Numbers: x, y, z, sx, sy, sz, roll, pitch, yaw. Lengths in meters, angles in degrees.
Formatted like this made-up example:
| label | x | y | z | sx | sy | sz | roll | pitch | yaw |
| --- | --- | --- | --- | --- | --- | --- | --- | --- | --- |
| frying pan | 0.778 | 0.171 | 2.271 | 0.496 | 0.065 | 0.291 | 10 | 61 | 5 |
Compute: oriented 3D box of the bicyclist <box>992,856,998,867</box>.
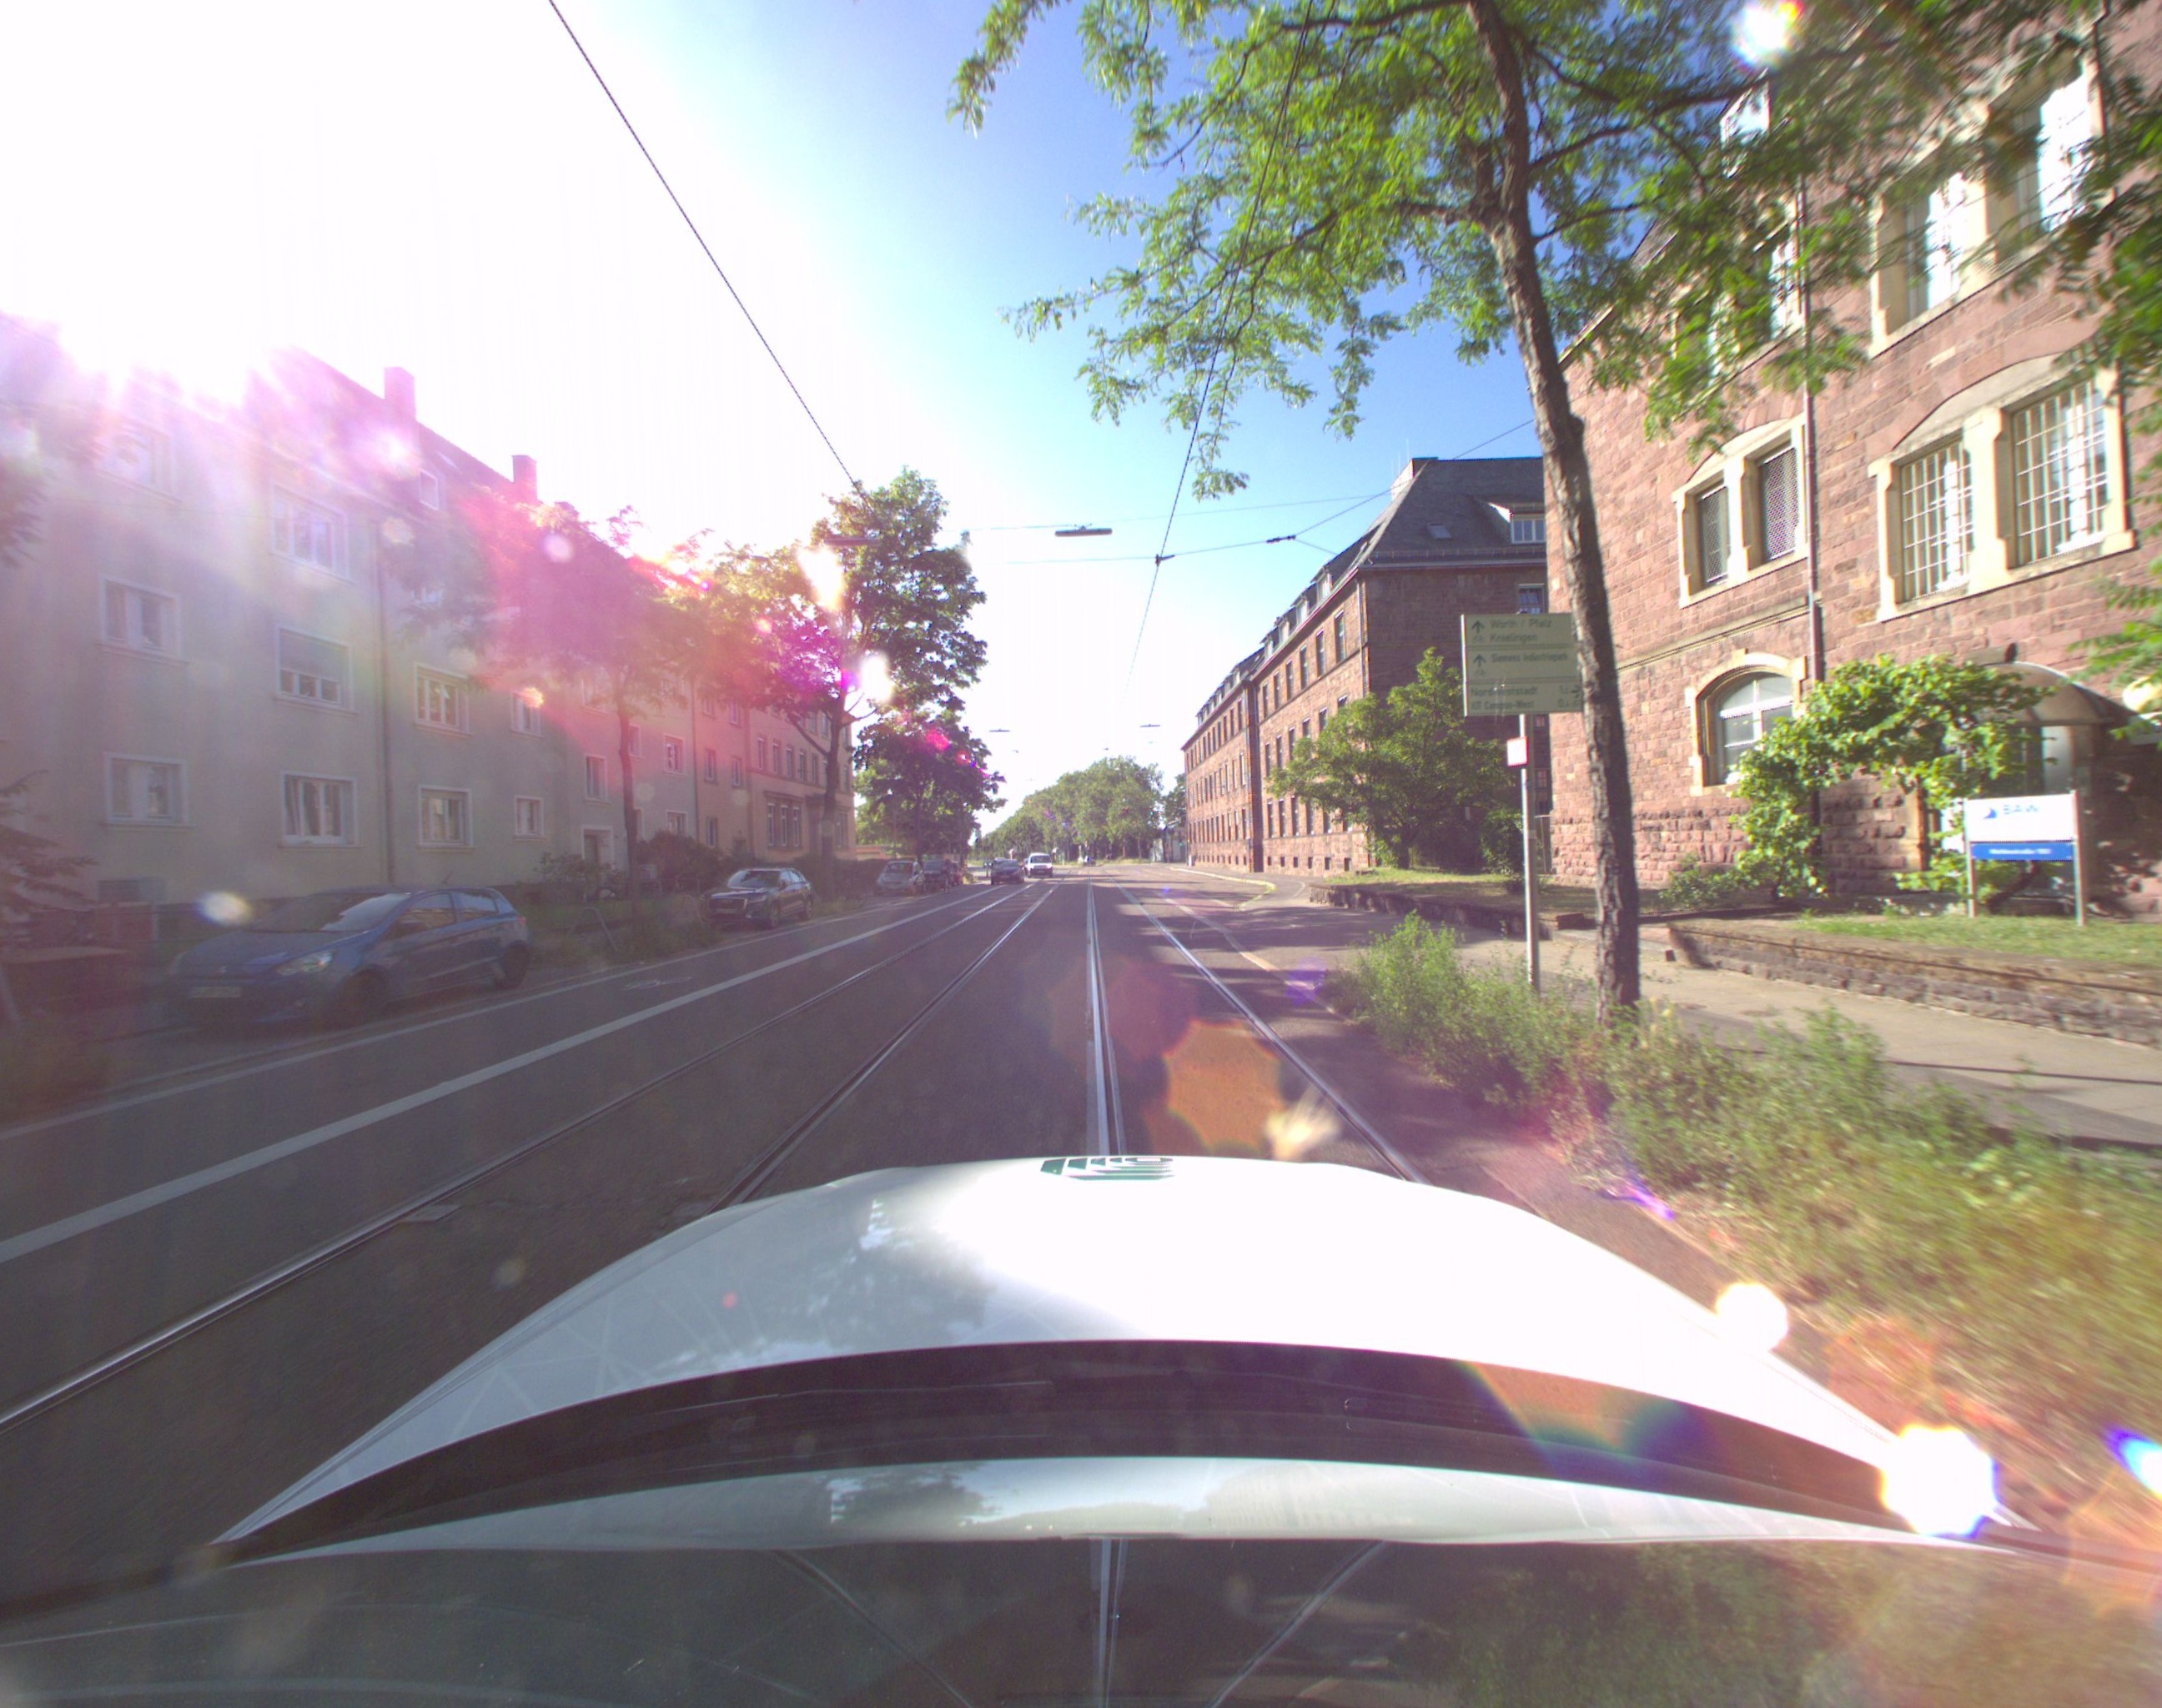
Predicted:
| label | x | y | z | sx | sy | sz | roll | pitch | yaw |
| --- | --- | --- | --- | --- | --- | --- | --- | --- | --- |
| bicyclist | -11.860 | 1.069 | 112.172 | 0.750 | 1.504 | 0.959 | -2 | 0 | -15 |

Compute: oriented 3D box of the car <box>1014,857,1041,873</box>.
| label | x | y | z | sx | sy | sz | roll | pitch | yaw |
| --- | --- | --- | --- | --- | --- | --- | --- | --- | --- |
| car | -4.873 | 0.966 | 73.369 | 1.921 | 1.387 | 4.671 | -2 | 0 | -10 |

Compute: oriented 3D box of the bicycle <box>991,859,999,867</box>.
| label | x | y | z | sx | sy | sz | roll | pitch | yaw |
| --- | --- | --- | --- | --- | --- | --- | --- | --- | --- |
| bicycle | -11.860 | 1.295 | 112.193 | 0.750 | 1.087 | 2.166 | -2 | 0 | -15 |

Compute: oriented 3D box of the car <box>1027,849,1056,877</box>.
| label | x | y | z | sx | sy | sz | roll | pitch | yaw |
| --- | --- | --- | --- | --- | --- | --- | --- | --- | --- |
| car | -2.838 | 0.657 | 59.526 | 1.803 | 1.888 | 4.440 | -2 | 0 | 0 |

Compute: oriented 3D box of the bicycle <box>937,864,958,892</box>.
| label | x | y | z | sx | sy | sz | roll | pitch | yaw |
| --- | --- | --- | --- | --- | --- | --- | --- | --- | --- |
| bicycle | -6.193 | 1.110 | 37.817 | 0.556 | 1.198 | 2.290 | -5 | 0 | -2 |

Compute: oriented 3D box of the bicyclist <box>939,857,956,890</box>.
| label | x | y | z | sx | sy | sz | roll | pitch | yaw |
| --- | --- | --- | --- | --- | --- | --- | --- | --- | --- |
| bicyclist | -6.207 | 0.901 | 37.973 | 0.556 | 1.456 | 0.868 | -5 | 0 | -3 |

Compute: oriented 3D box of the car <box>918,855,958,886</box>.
| label | x | y | z | sx | sy | sz | roll | pitch | yaw |
| --- | --- | --- | --- | --- | --- | --- | --- | --- | --- |
| car | -8.126 | 0.926 | 46.521 | 1.742 | 1.660 | 4.384 | 1 | 0 | -4 |

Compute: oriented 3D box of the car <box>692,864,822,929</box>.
| label | x | y | z | sx | sy | sz | roll | pitch | yaw |
| --- | --- | --- | --- | --- | --- | --- | --- | --- | --- |
| car | -8.401 | 1.037 | 21.547 | 1.740 | 1.490 | 4.322 | 1 | 0 | -1 |

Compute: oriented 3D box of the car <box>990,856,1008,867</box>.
| label | x | y | z | sx | sy | sz | roll | pitch | yaw |
| --- | --- | --- | --- | --- | --- | --- | --- | --- | --- |
| car | -11.653 | 1.073 | 115.725 | 1.996 | 1.504 | 3.982 | -2 | 0 | -13 |

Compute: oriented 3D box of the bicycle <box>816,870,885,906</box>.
| label | x | y | z | sx | sy | sz | roll | pitch | yaw |
| --- | --- | --- | --- | --- | --- | --- | --- | --- | --- |
| bicycle | -8.047 | 1.186 | 28.414 | 2.272 | 1.198 | 0.561 | 0 | 1 | 7 |

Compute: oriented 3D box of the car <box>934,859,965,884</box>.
| label | x | y | z | sx | sy | sz | roll | pitch | yaw |
| --- | --- | --- | --- | --- | --- | --- | --- | --- | --- |
| car | -8.213 | 1.086 | 51.254 | 1.578 | 1.488 | 3.607 | 1 | 0 | -4 |

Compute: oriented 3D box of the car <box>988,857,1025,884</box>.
| label | x | y | z | sx | sy | sz | roll | pitch | yaw |
| --- | --- | --- | --- | --- | --- | --- | --- | --- | --- |
| car | -4.354 | 0.933 | 47.876 | 1.804 | 1.387 | 4.438 | -2 | 0 | -1 |

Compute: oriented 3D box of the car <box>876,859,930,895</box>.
| label | x | y | z | sx | sy | sz | roll | pitch | yaw |
| --- | --- | --- | --- | --- | --- | --- | --- | --- | --- |
| car | -8.291 | 1.038 | 38.200 | 1.741 | 1.569 | 4.066 | 1 | 0 | -2 |

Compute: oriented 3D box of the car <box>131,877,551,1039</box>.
| label | x | y | z | sx | sy | sz | roll | pitch | yaw |
| --- | --- | --- | --- | --- | --- | --- | --- | --- | --- |
| car | -8.486 | 1.071 | 9.906 | 1.556 | 1.457 | 3.928 | 1 | 0 | -2 |

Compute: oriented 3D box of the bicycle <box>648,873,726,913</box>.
| label | x | y | z | sx | sy | sz | roll | pitch | yaw |
| --- | --- | --- | --- | --- | --- | --- | --- | --- | --- |
| bicycle | -12.559 | 1.226 | 25.979 | 2.272 | 1.198 | 0.561 | 0 | 1 | 7 |
